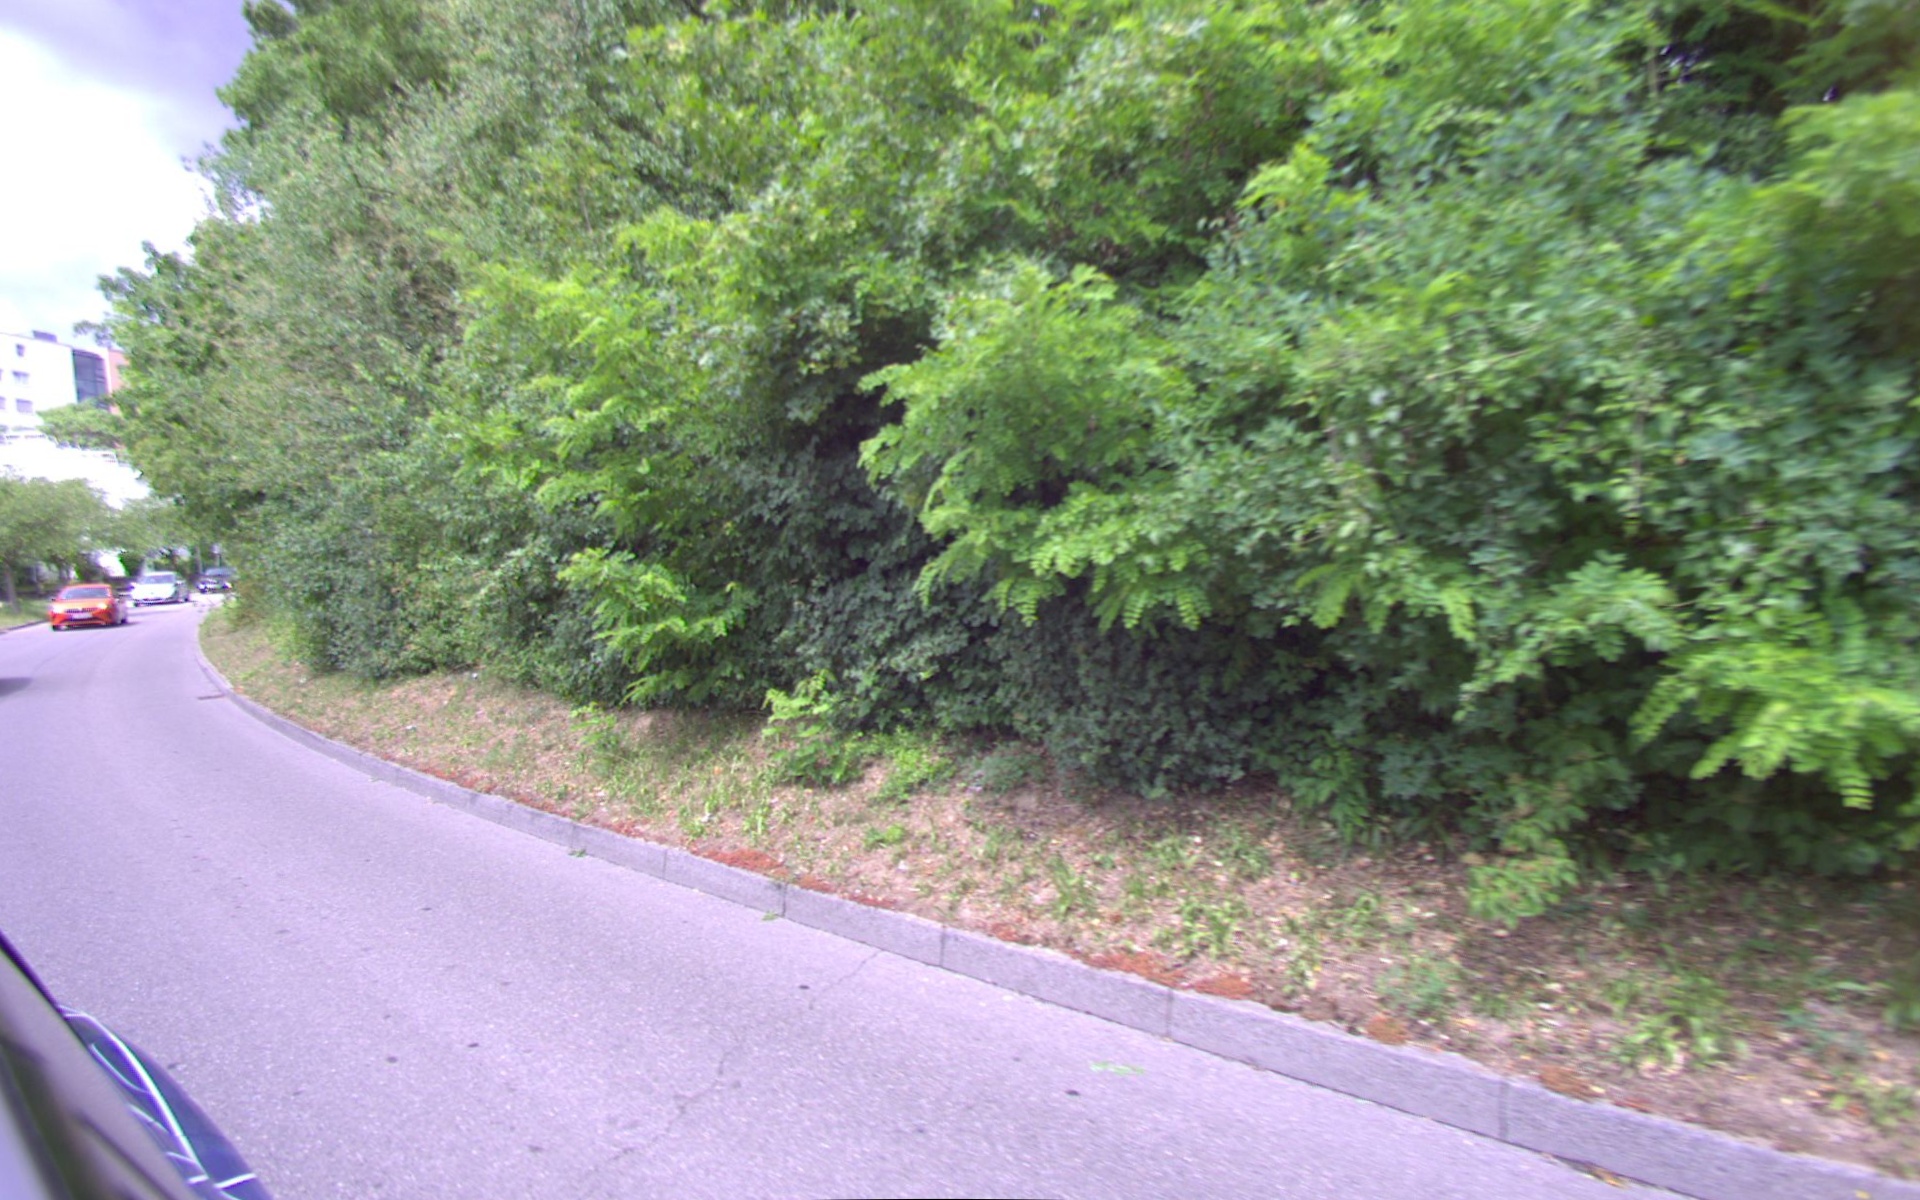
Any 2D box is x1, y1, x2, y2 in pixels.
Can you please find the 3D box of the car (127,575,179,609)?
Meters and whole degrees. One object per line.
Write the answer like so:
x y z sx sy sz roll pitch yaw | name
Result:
-40.172 -0.446 50.334 1.755 1.462 4.006 -6 6 -41 | car

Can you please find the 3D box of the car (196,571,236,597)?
-45.767 -0.989 62.321 1.753 1.430 4.010 -5 3 -35 | car

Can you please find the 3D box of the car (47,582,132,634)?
-29.575 0.229 34.353 1.836 1.453 4.003 -7 6 -44 | car
